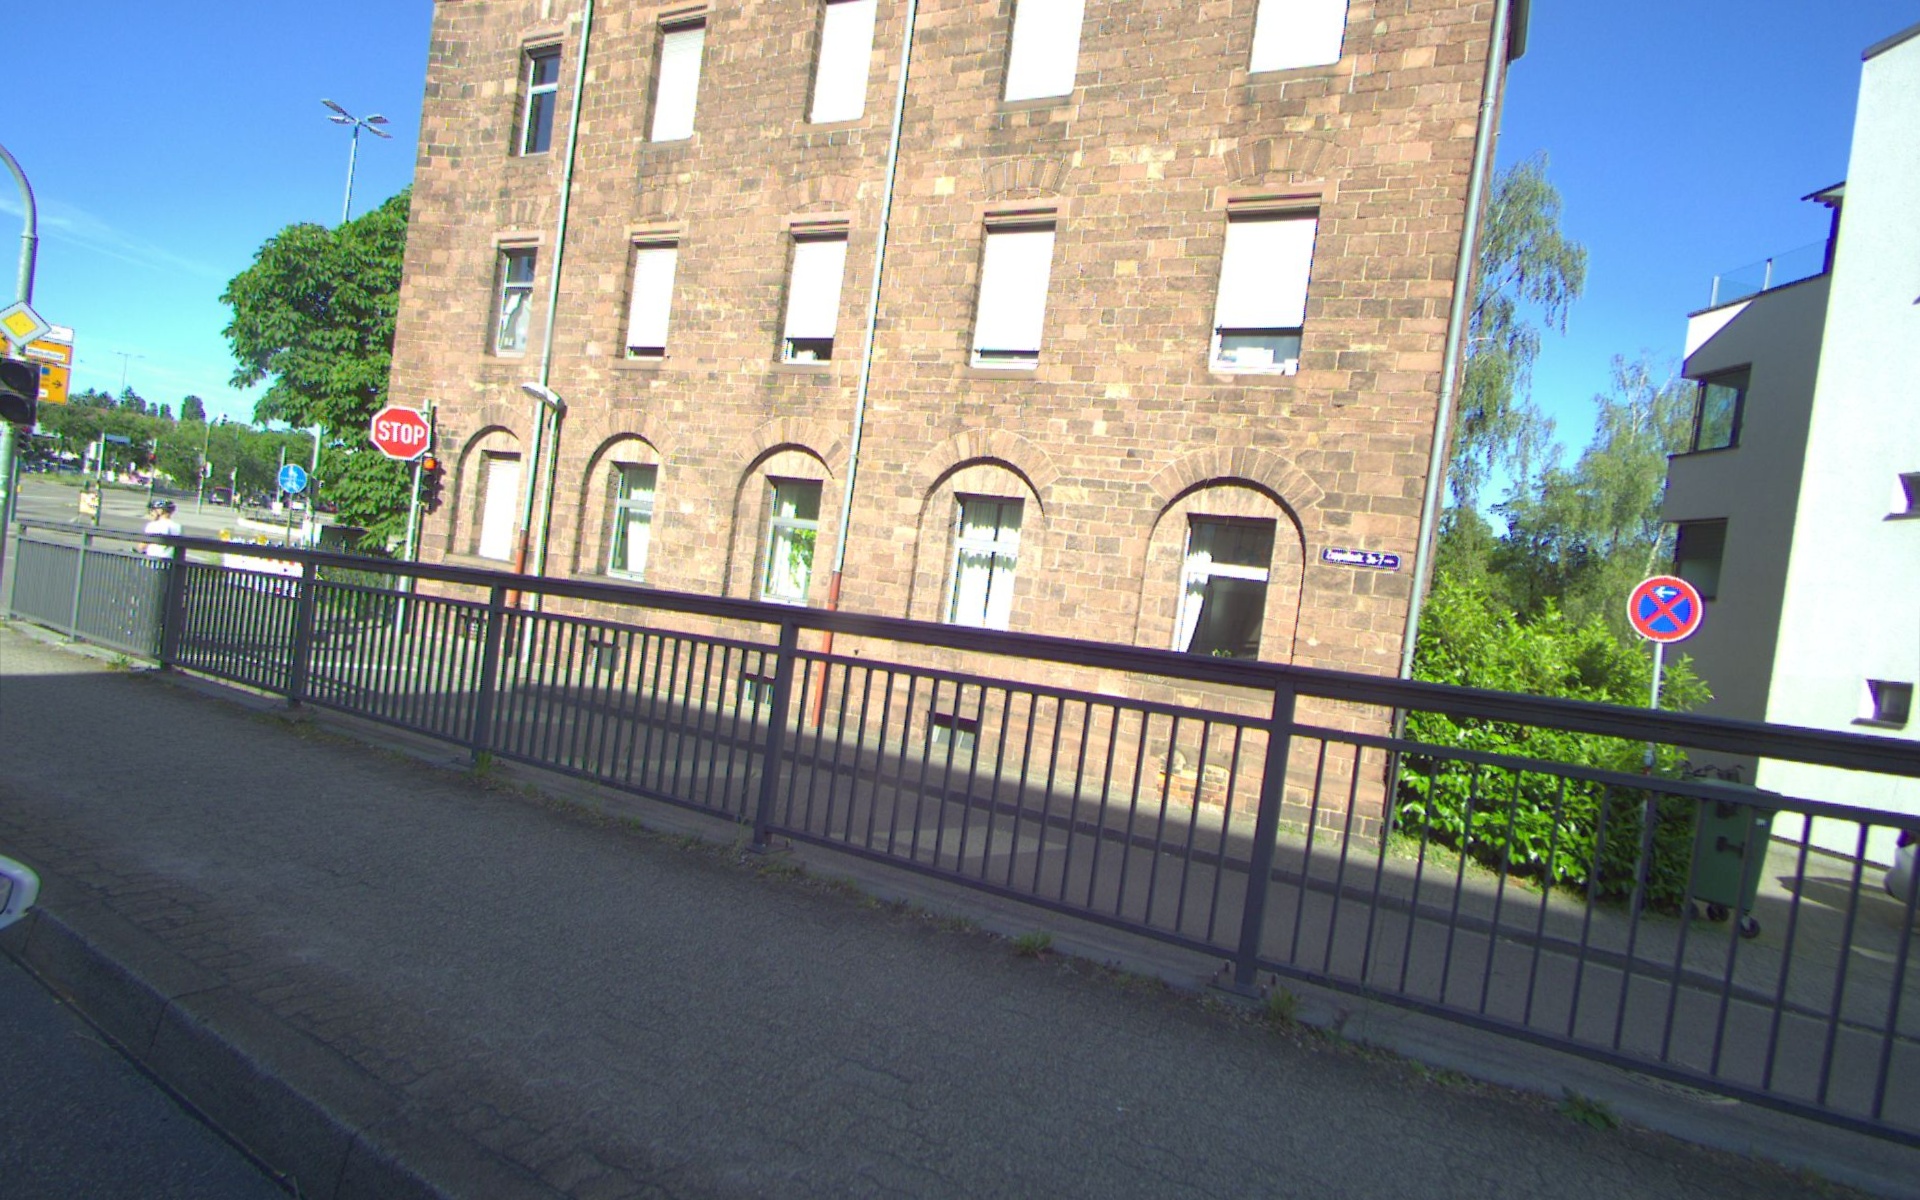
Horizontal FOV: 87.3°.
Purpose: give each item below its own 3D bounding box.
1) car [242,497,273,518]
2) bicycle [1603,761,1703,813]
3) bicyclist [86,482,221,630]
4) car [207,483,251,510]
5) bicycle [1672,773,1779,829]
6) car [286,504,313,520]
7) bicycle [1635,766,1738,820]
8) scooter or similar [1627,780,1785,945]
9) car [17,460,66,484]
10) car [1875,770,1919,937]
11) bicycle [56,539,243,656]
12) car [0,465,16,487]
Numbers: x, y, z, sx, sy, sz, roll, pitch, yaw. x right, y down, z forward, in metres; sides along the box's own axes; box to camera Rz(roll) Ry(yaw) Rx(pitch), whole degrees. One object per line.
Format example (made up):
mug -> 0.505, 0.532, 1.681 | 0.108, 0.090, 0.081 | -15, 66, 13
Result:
car -> -76.004, -9.998, 108.860 | 1.975, 1.816, 3.974 | 7, 1, -25
bicycle -> 13.852, 3.743, 20.100 | 2.021, 0.897, 0.493 | 5, 1, -20
bicyclist -> -10.355, -0.556, 12.929 | 1.065, 1.725, 0.802 | 7, 0, 23
car -> -66.659, -9.395, 91.794 | 1.972, 1.814, 3.985 | 7, -2, -19
bicycle -> 14.270, 3.746, 18.742 | 2.021, 0.897, 0.493 | 5, 1, -20
car -> -82.955, -11.010, 126.465 | 1.973, 1.660, 3.978 | 7, 1, -22
bicycle -> 14.085, 3.740, 19.496 | 2.021, 0.897, 0.493 | 5, 1, -20
scooter or similar -> 7.173, 2.478, 9.757 | 0.771, 1.232, 1.463 | 8, -2, 24
car -> -81.879, -11.370, 89.714 | 1.976, 1.470, 3.976 | 8, -1, -25
car -> 11.909, 2.936, 9.463 | 1.797, 1.788, 4.643 | 7, -2, -10
bicycle -> -10.387, -0.034, 12.870 | 2.359, 1.124, 0.802 | 9, 0, 25
car -> -77.577, -10.059, 80.747 | 1.712, 1.602, 3.968 | 8, 1, -32
